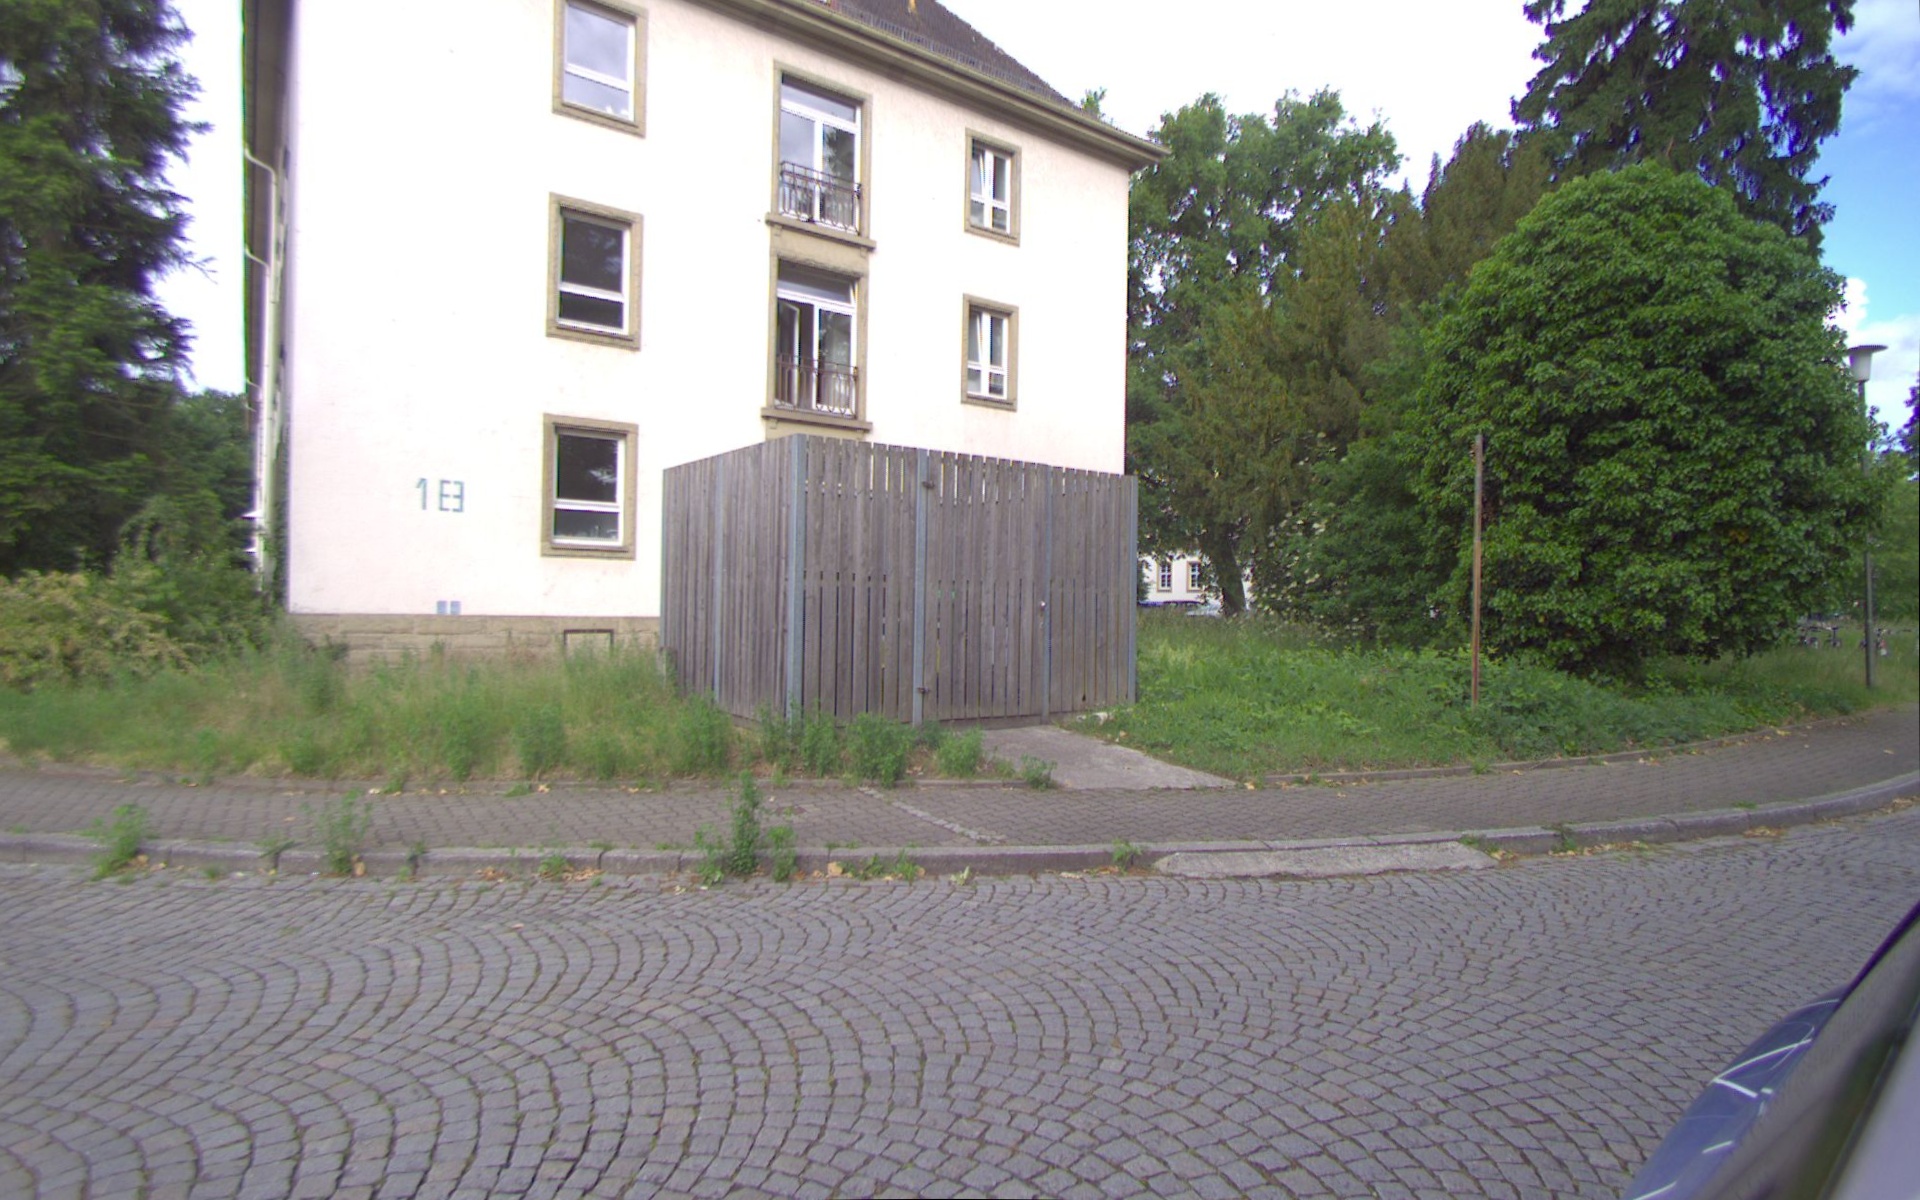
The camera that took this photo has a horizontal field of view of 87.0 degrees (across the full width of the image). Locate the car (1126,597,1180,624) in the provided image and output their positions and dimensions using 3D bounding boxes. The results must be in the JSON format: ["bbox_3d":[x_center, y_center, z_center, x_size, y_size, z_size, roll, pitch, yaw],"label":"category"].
[{"bbox_3d":[11.544,0.639,60.625,3.188,1.585,1.384,1,0,-36],"label":"car"}]

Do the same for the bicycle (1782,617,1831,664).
[{"bbox_3d":[20.547,0.963,24.589,0.546,1.078,1.736,0,0,28],"label":"bicycle"}]

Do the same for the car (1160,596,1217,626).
[{"bbox_3d":[13.011,0.610,57.674,3.188,1.682,1.439,1,0,-36],"label":"car"}]

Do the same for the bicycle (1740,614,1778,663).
[{"bbox_3d":[20.414,0.961,25.839,1.725,1.186,0.550,1,-1,-44],"label":"bicycle"}]

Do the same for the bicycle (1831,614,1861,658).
[{"bbox_3d":[23.473,0.932,26.831,0.475,1.126,1.741,0,0,37],"label":"bicycle"}]

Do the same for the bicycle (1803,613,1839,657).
[{"bbox_3d":[23.197,0.932,27.292,0.474,1.126,1.745,0,0,32],"label":"bicycle"}]

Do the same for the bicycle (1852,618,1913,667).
[{"bbox_3d":[21.680,0.976,23.814,0.612,1.078,1.807,0,0,28],"label":"bicycle"}]

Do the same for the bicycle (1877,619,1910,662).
[{"bbox_3d":[24.343,1.030,26.406,0.475,1.020,1.645,0,1,37],"label":"bicycle"}]

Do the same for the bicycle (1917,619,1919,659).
[{"bbox_3d":[24.857,1.033,25.825,0.475,1.020,1.645,0,1,37],"label":"bicycle"}]

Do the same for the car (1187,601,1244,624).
[{"bbox_3d":[14.058,0.679,55.625,3.188,1.233,1.297,1,0,-36],"label":"car"}]
